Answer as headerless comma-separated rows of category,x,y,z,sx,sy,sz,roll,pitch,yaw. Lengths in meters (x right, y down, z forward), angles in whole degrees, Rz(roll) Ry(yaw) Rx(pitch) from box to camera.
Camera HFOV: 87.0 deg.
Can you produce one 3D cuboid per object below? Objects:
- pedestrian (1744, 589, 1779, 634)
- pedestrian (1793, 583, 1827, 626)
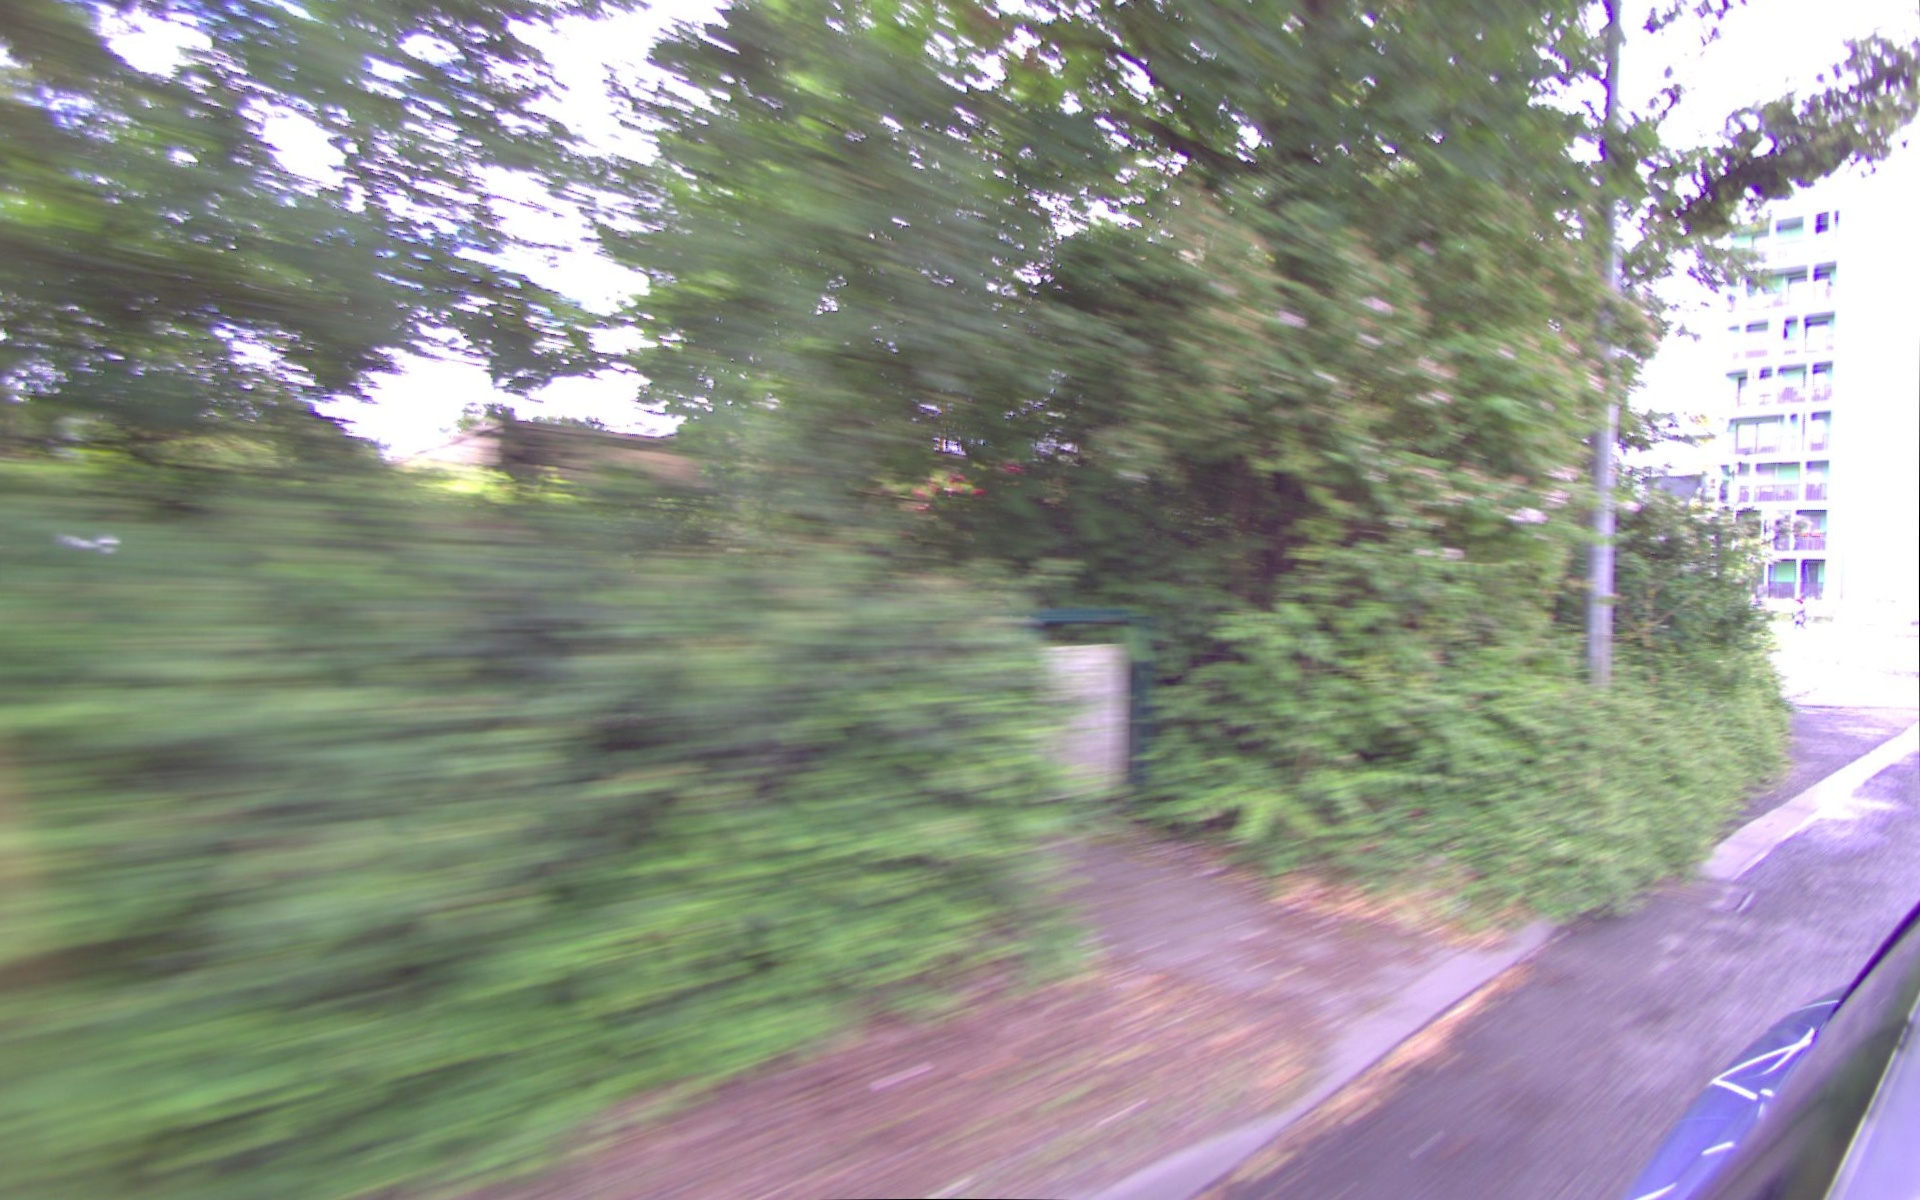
pedestrian,30.736,0.420,38.796,0.684,1.652,0.724,-1,5,-24
pedestrian,32.472,0.162,38.665,0.678,1.586,0.734,1,1,-21
